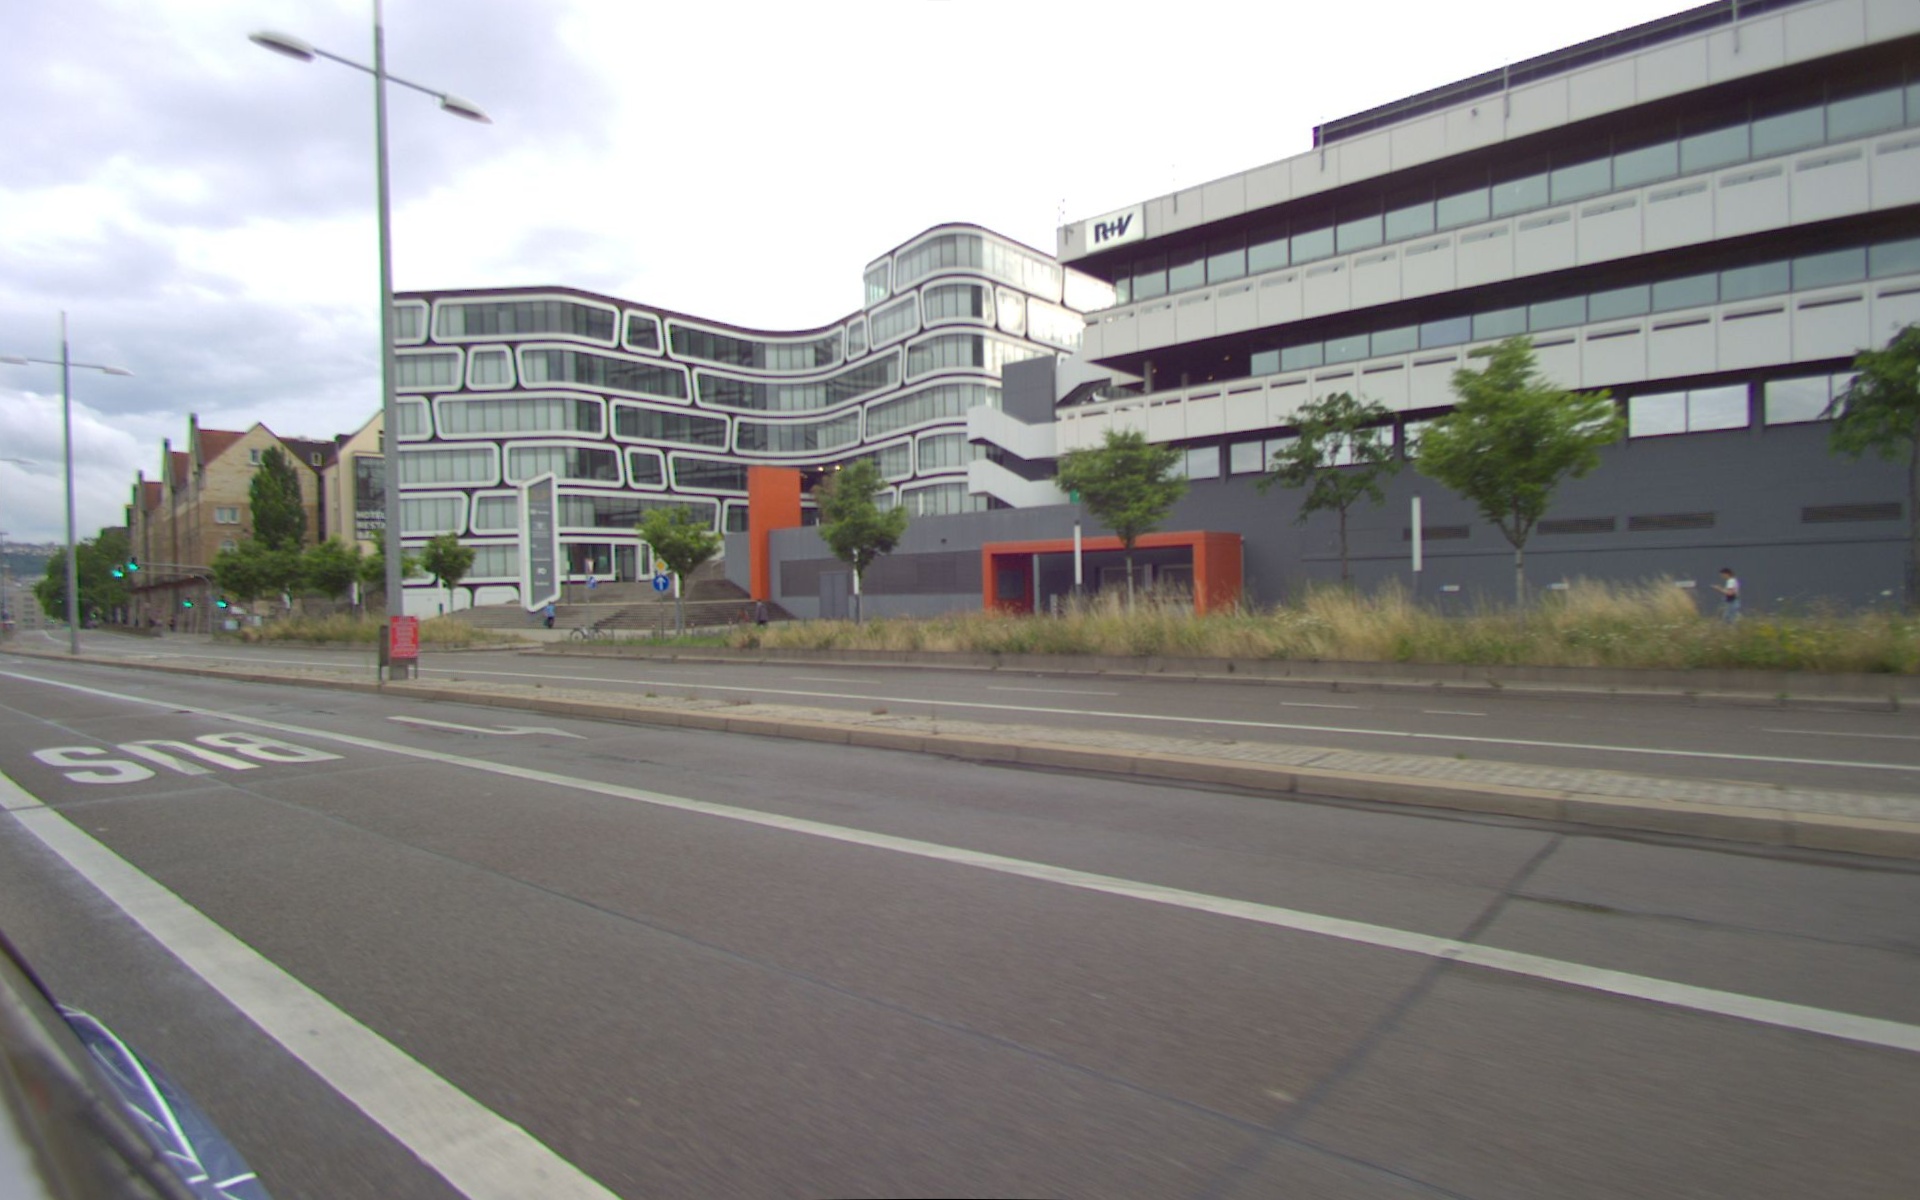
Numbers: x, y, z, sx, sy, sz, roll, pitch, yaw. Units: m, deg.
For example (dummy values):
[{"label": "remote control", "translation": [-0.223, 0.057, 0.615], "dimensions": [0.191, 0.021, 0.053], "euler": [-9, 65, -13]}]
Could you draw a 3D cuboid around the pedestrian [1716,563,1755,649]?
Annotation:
[{"label": "pedestrian", "translation": [16.754, 0.115, 21.864], "dimensions": [0.628, 1.821, 0.623], "euler": [0, 0, 41]}]

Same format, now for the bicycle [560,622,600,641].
[{"label": "bicycle", "translation": [-17.264, 1.437, 46.014], "dimensions": [1.638, 0.864, 0.608], "euler": [0, 0, 8]}]

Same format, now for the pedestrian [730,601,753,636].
[{"label": "pedestrian", "translation": [-9.406, 0.791, 43.588], "dimensions": [0.798, 1.457, 0.611], "euler": [0, 0, 42]}]

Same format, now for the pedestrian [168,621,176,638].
[{"label": "pedestrian", "translation": [-84.986, 3.145, 109.133], "dimensions": [0.668, 1.792, 0.684], "euler": [0, 0, -43]}]

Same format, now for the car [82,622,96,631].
[{"label": "car", "translation": [-147.326, 4.456, 171.147], "dimensions": [1.690, 1.475, 4.004], "euler": [-2, 0, -43]}]

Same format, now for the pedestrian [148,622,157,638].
[{"label": "pedestrian", "translation": [-88.296, 3.272, 110.668], "dimensions": [0.668, 1.792, 0.684], "euler": [0, 0, -43]}]

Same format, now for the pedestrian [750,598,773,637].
[{"label": "pedestrian", "translation": [-8.711, 0.751, 44.420], "dimensions": [0.798, 1.670, 0.611], "euler": [0, 0, 42]}]

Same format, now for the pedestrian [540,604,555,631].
[{"label": "pedestrian", "translation": [-24.661, 1.048, 60.514], "dimensions": [0.640, 1.623, 0.604], "euler": [0, 1, 44]}]
